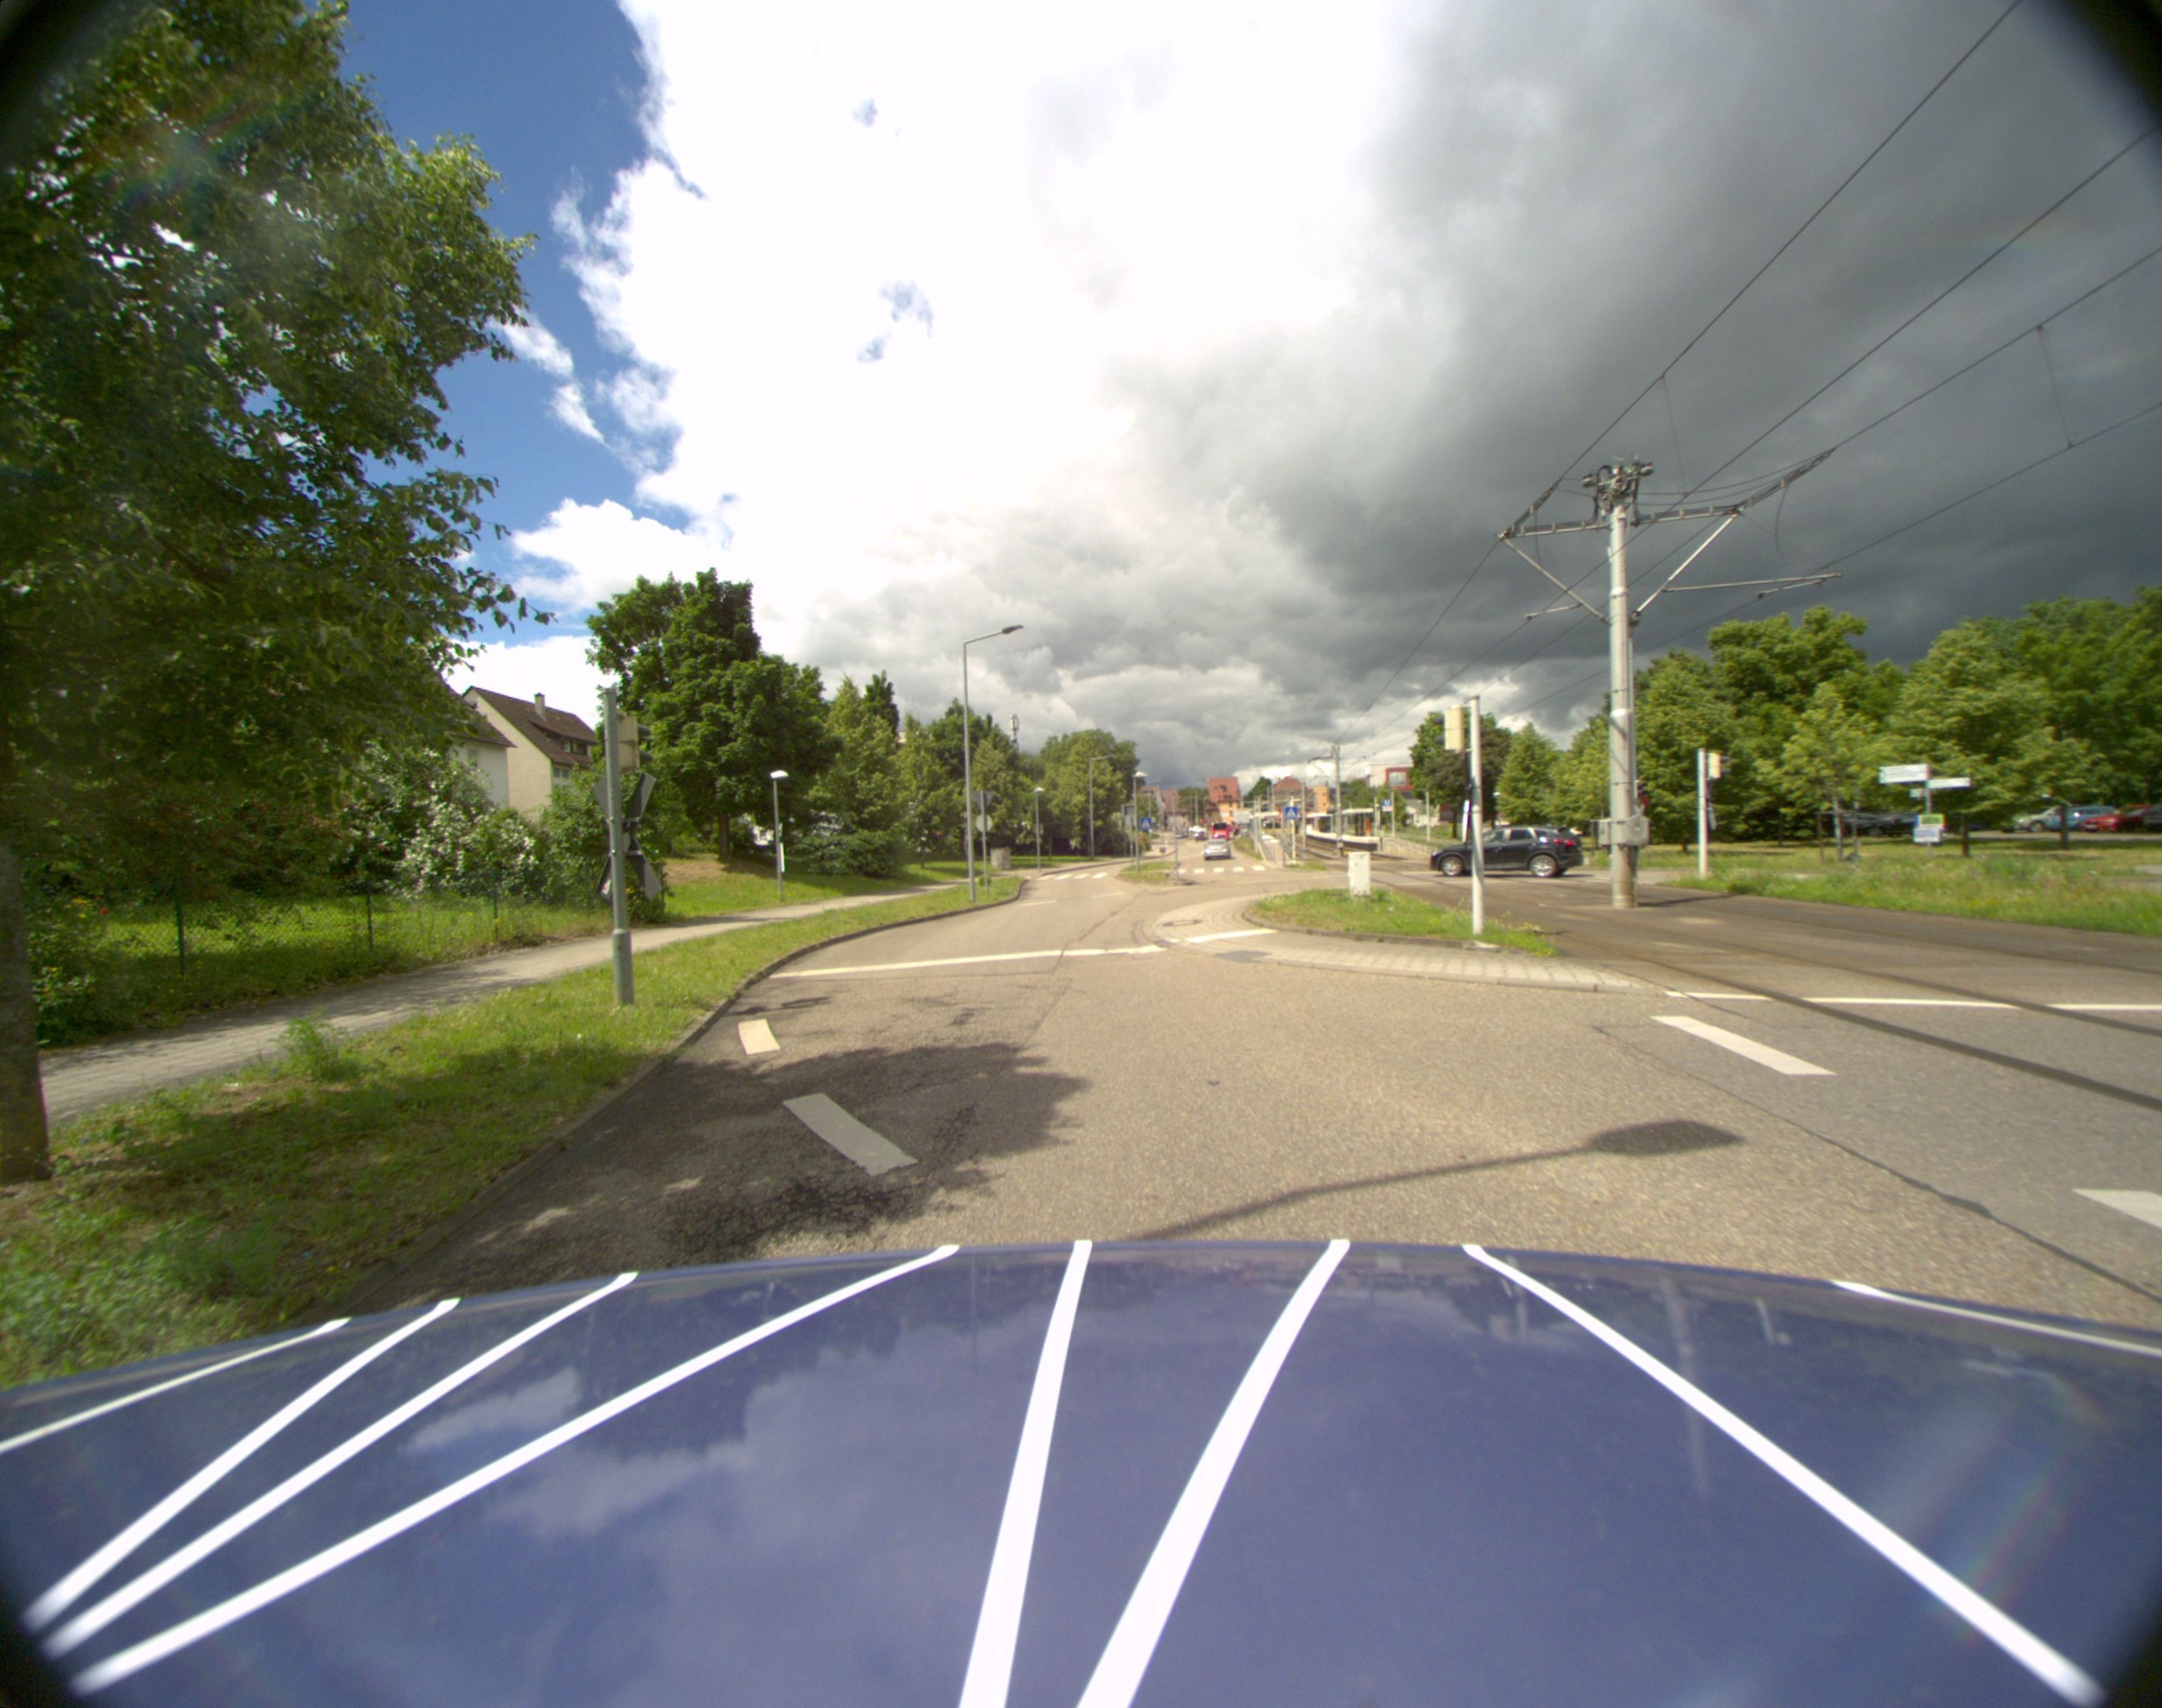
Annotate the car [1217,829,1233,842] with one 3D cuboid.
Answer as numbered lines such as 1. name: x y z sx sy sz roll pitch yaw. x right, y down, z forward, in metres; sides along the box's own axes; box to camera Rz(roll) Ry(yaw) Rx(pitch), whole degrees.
1. car: 17.166 -2.210 90.292 1.737 1.501 3.517 -3 2 12

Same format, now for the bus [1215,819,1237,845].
1. bus: 23.493 -3.563 122.877 2.921 3.864 10.386 -2 1 13

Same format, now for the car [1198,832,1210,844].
1. car: 21.098 -2.711 130.390 1.848 1.916 3.780 -2 1 11

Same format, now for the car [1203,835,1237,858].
1. car: 9.959 -0.575 54.018 1.938 1.374 4.665 -3 2 15

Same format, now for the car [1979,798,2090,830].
1. car: 55.646 -2.293 44.438 1.592 1.631 3.903 -3 2 0

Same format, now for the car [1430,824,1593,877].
1. car: 14.029 -0.127 24.952 1.863 1.576 4.312 -2 2 -44

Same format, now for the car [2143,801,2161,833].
1. car: 55.949 -1.861 37.976 3.618 1.581 1.628 -1 2 -4

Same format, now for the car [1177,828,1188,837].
1. car: 21.402 -4.564 160.414 1.997 1.849 4.002 -2 1 11
